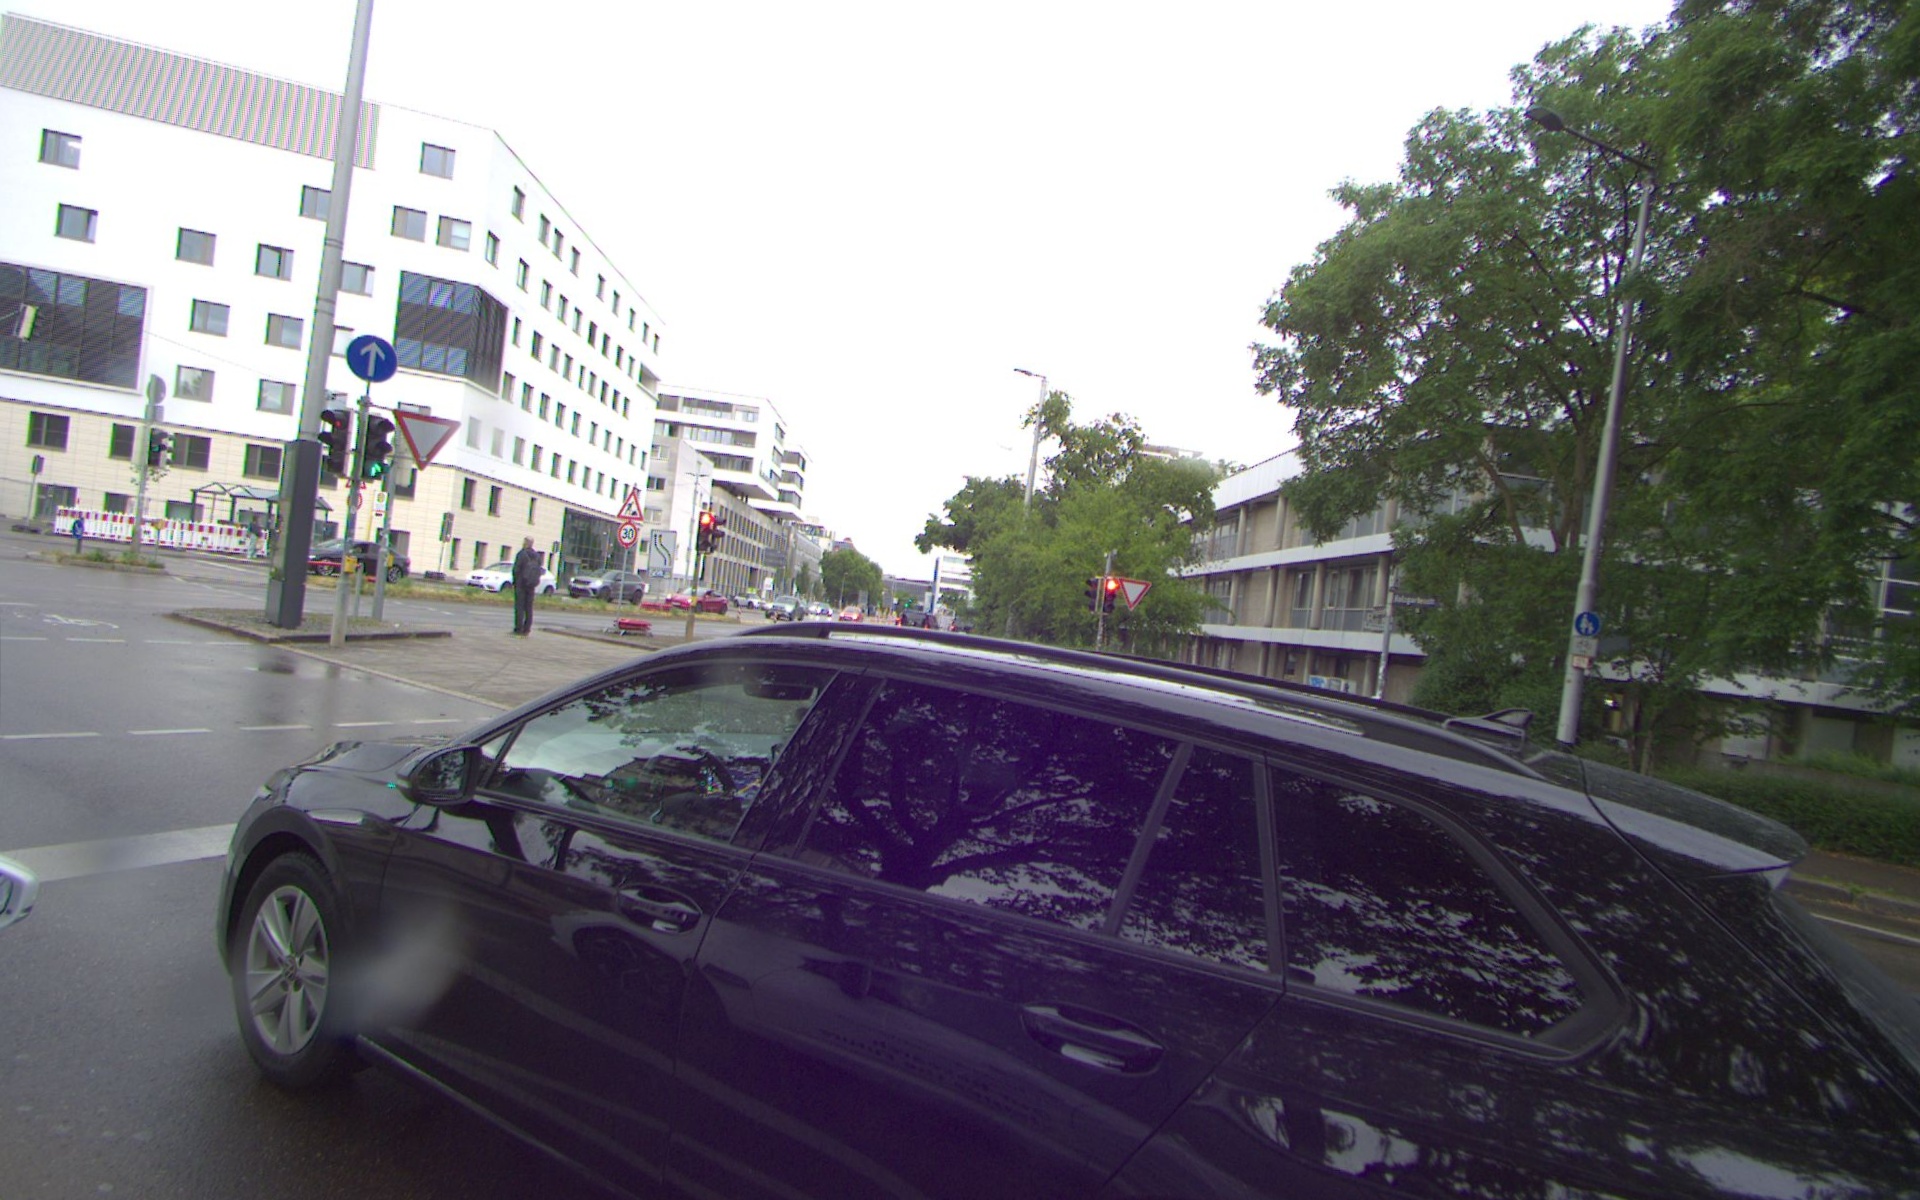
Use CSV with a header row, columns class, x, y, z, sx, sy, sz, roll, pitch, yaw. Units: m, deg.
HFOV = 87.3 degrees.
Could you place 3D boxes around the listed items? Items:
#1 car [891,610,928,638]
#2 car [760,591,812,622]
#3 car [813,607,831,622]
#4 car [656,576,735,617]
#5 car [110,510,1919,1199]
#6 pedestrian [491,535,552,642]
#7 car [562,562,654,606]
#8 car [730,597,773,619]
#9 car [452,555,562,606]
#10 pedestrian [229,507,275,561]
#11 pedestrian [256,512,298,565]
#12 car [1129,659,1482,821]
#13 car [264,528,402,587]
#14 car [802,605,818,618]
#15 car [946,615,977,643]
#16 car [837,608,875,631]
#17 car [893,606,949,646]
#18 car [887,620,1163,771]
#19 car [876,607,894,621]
class,x,y,z,sx,sy,sz,roll,pitch,yaw
car,-3.656,1.781,73.923,1.764,1.726,4.692,8,-1,7
car,-11.895,0.483,68.920,1.929,1.554,4.166,8,-2,12
car,-16.640,1.795,120.972,1.934,1.466,4.156,9,-2,-8
car,-14.288,-0.162,54.572,1.930,1.574,4.536,8,-3,16
car,-0.230,0.795,2.707,4.436,1.483,1.673,8,-1,30
pedestrian,-8.386,-0.209,19.290,0.819,1.913,1.023,8,-2,-21
car,-18.053,-0.804,51.788,1.963,1.684,4.389,7,-1,20
car,-20.600,0.750,99.343,4.003,1.575,1.962,7,-3,38
car,-18.395,-0.744,41.039,1.764,1.460,4.006,8,-3,17
pedestrian,-26.883,-2.515,38.206,0.808,1.861,0.955,6,-2,20
pedestrian,-27.635,-2.488,40.723,0.941,1.957,1.001,5,-2,41
car,4.721,1.895,14.349,1.853,1.467,4.359,9,-2,-37
car,-22.841,-1.508,36.836,1.764,1.460,4.006,8,-3,17
car,-19.701,1.517,131.988,1.934,1.466,4.155,9,-2,-9
car,0.150,2.304,77.887,1.963,1.829,4.791,8,-2,3
car,-9.026,1.725,87.272,1.929,1.466,4.166,8,-2,12
car,-2.175,1.524,57.626,1.764,1.930,4.313,8,-1,15
car,0.770,1.273,14.400,1.850,1.467,3.967,9,-1,-32
car,-10.404,1.955,139.535,1.837,1.669,4.772,7,-3,-10
